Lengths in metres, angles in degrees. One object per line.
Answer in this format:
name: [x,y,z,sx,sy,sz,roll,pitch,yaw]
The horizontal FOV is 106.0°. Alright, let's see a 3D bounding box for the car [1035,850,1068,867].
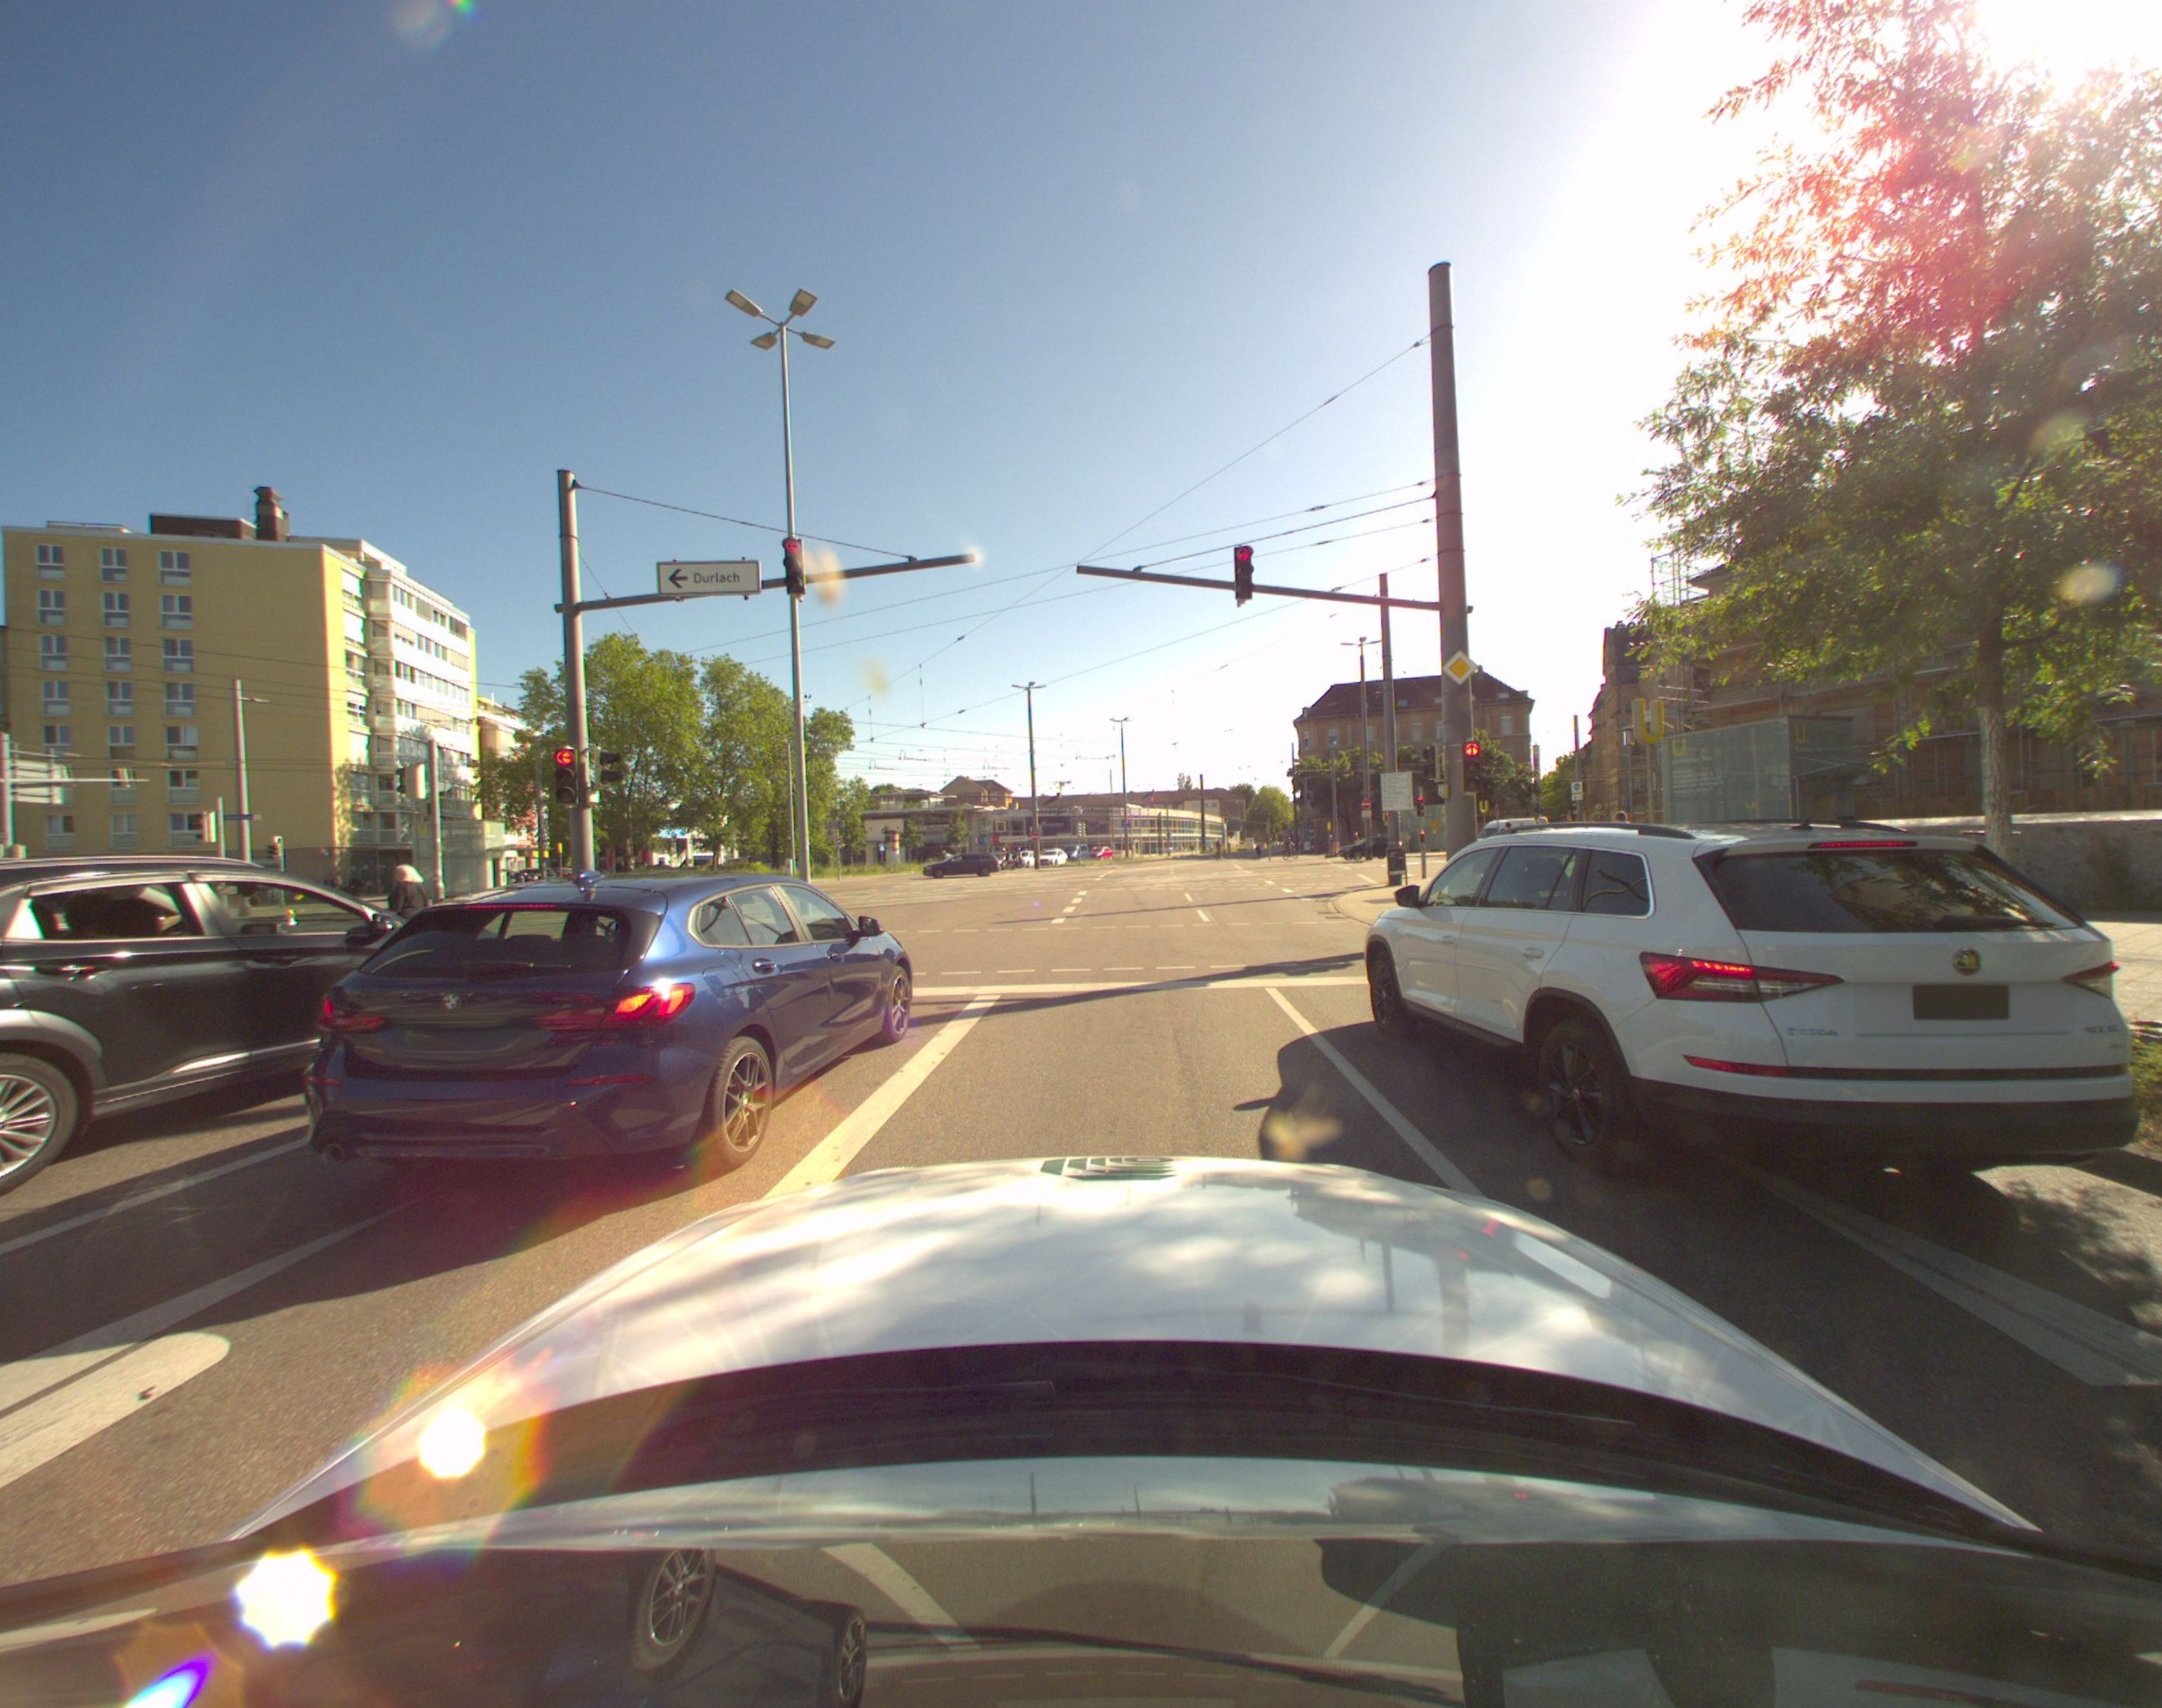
car: [-2.542,0.351,70.687,1.613,1.382,3.755,-2,0,18]

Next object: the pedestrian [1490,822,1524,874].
pedestrian: [15.417,-0.220,29.478,0.887,1.859,0.933,-2,0,38]

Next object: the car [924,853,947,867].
car: [-19.041,0.785,106.506,1.958,1.706,4.087,-2,0,3]

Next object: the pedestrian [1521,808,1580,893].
pedestrian: [8.948,-0.067,15.533,0.547,1.562,0.857,-2,0,-5]

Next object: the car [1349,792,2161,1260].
car: [3.185,0.613,5.089,1.688,1.642,4.299,-2,0,2]

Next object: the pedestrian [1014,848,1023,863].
pedestrian: [-5.056,0.112,66.323,0.419,1.204,0.754,-2,0,20]

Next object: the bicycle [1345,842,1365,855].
bicycle: [25.031,-0.476,74.435,2.025,1.120,0.545,-2,0,-31]

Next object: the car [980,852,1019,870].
car: [-6.666,0.573,66.809,1.689,1.354,3.720,-2,0,20]

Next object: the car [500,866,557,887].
car: [-48.016,1.963,70.857,3.740,1.662,1.586,-2,0,-16]

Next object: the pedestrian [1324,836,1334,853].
pedestrian: [21.434,-0.822,70.475,0.541,1.517,0.711,-2,0,44]

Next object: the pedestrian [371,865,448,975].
pedestrian: [-9.978,0.957,12.115,0.353,1.555,0.765,-2,0,22]

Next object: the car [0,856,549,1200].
car: [-5.627,0.808,5.033,1.749,1.517,4.016,-1,0,6]

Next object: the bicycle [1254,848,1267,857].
bicycle: [18.167,-0.152,82.409,0.736,0.870,1.943,-2,0,27]

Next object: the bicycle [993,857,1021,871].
bicycle: [-5.654,0.759,62.093,2.009,0.913,0.559,-2,0,-16]

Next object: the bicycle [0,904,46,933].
bicycle: [-38.455,2.315,29.125,0.614,0.945,1.687,-2,0,3]

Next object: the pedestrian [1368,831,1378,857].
pedestrian: [23.150,-0.767,64.549,0.574,2.013,0.449,-2,0,-15]

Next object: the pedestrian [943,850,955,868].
pedestrian: [-9.366,0.364,57.964,0.750,1.204,0.421,-2,0,-20]

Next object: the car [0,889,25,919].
car: [-55.281,2.562,40.869,3.833,1.427,1.786,-2,0,22]

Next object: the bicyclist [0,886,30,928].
bicyclist: [-38.469,1.911,29.231,0.614,1.443,0.617,-2,0,3]

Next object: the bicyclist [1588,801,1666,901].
bicyclist: [10.193,-0.061,15.235,0.746,1.778,0.922,-3,0,-5]

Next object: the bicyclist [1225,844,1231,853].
bicyclist: [24.893,-0.935,137.729,0.803,1.623,0.933,-2,0,19]

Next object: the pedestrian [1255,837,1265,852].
pedestrian: [18.057,-0.952,82.256,0.739,1.523,0.722,-2,0,27]

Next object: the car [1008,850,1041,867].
car: [-4.996,0.405,72.694,1.613,1.424,3.703,-2,0,18]

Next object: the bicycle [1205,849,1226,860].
bicycle: [12.152,0.025,73.521,1.942,0.870,0.736,-2,0,-42]

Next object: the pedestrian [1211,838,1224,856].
pedestrian: [12.342,-0.630,73.760,0.722,1.632,0.795,-2,0,-42]

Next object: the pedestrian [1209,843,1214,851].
pedestrian: [20.611,-1.064,128.749,0.418,1.204,0.685,-2,0,29]

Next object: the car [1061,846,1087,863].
car: [-0.711,0.060,84.644,1.613,1.692,3.703,-2,0,18]

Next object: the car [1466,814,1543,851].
car: [33.555,-1.709,64.471,5.932,2.744,2.127,-2,0,-24]

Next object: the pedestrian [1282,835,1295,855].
pedestrian: [17.166,-0.721,67.395,0.722,1.632,0.749,-2,0,-40]

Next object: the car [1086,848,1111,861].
car: [2.016,0.062,91.651,1.612,1.364,3.704,-2,0,20]

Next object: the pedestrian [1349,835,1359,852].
pedestrian: [24.914,-0.942,74.371,0.709,1.517,0.543,-2,0,-31]

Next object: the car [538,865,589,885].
car: [-49.416,1.972,77.822,3.740,1.662,1.586,-2,0,-16]

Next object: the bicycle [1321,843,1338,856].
bicycle: [21.546,-0.381,70.567,0.541,1.120,2.031,-2,0,44]

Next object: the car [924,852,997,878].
car: [-7.460,0.679,50.162,4.220,1.400,1.848,-2,0,-17]

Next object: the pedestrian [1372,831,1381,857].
pedestrian: [23.653,-0.796,65.218,0.461,2.013,0.449,-2,0,-15]

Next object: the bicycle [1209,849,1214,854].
bicycle: [20.630,-0.397,128.740,0.418,0.718,1.484,-2,0,29]

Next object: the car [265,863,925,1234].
car: [-2.386,0.813,5.339,1.703,1.445,4.036,-1,0,4]

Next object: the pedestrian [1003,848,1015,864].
pedestrian: [-5.472,0.140,62.152,0.795,1.204,0.557,-2,0,-16]

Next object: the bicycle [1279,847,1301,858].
bicycle: [17.345,-0.107,67.506,1.941,0.870,0.736,-2,0,-40]

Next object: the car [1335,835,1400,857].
car: [21.283,-0.580,60.618,4.252,1.503,1.698,-2,0,-11]

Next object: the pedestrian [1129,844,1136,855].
pedestrian: [7.459,-0.645,117.915,0.634,1.688,0.537,-2,0,-44]
